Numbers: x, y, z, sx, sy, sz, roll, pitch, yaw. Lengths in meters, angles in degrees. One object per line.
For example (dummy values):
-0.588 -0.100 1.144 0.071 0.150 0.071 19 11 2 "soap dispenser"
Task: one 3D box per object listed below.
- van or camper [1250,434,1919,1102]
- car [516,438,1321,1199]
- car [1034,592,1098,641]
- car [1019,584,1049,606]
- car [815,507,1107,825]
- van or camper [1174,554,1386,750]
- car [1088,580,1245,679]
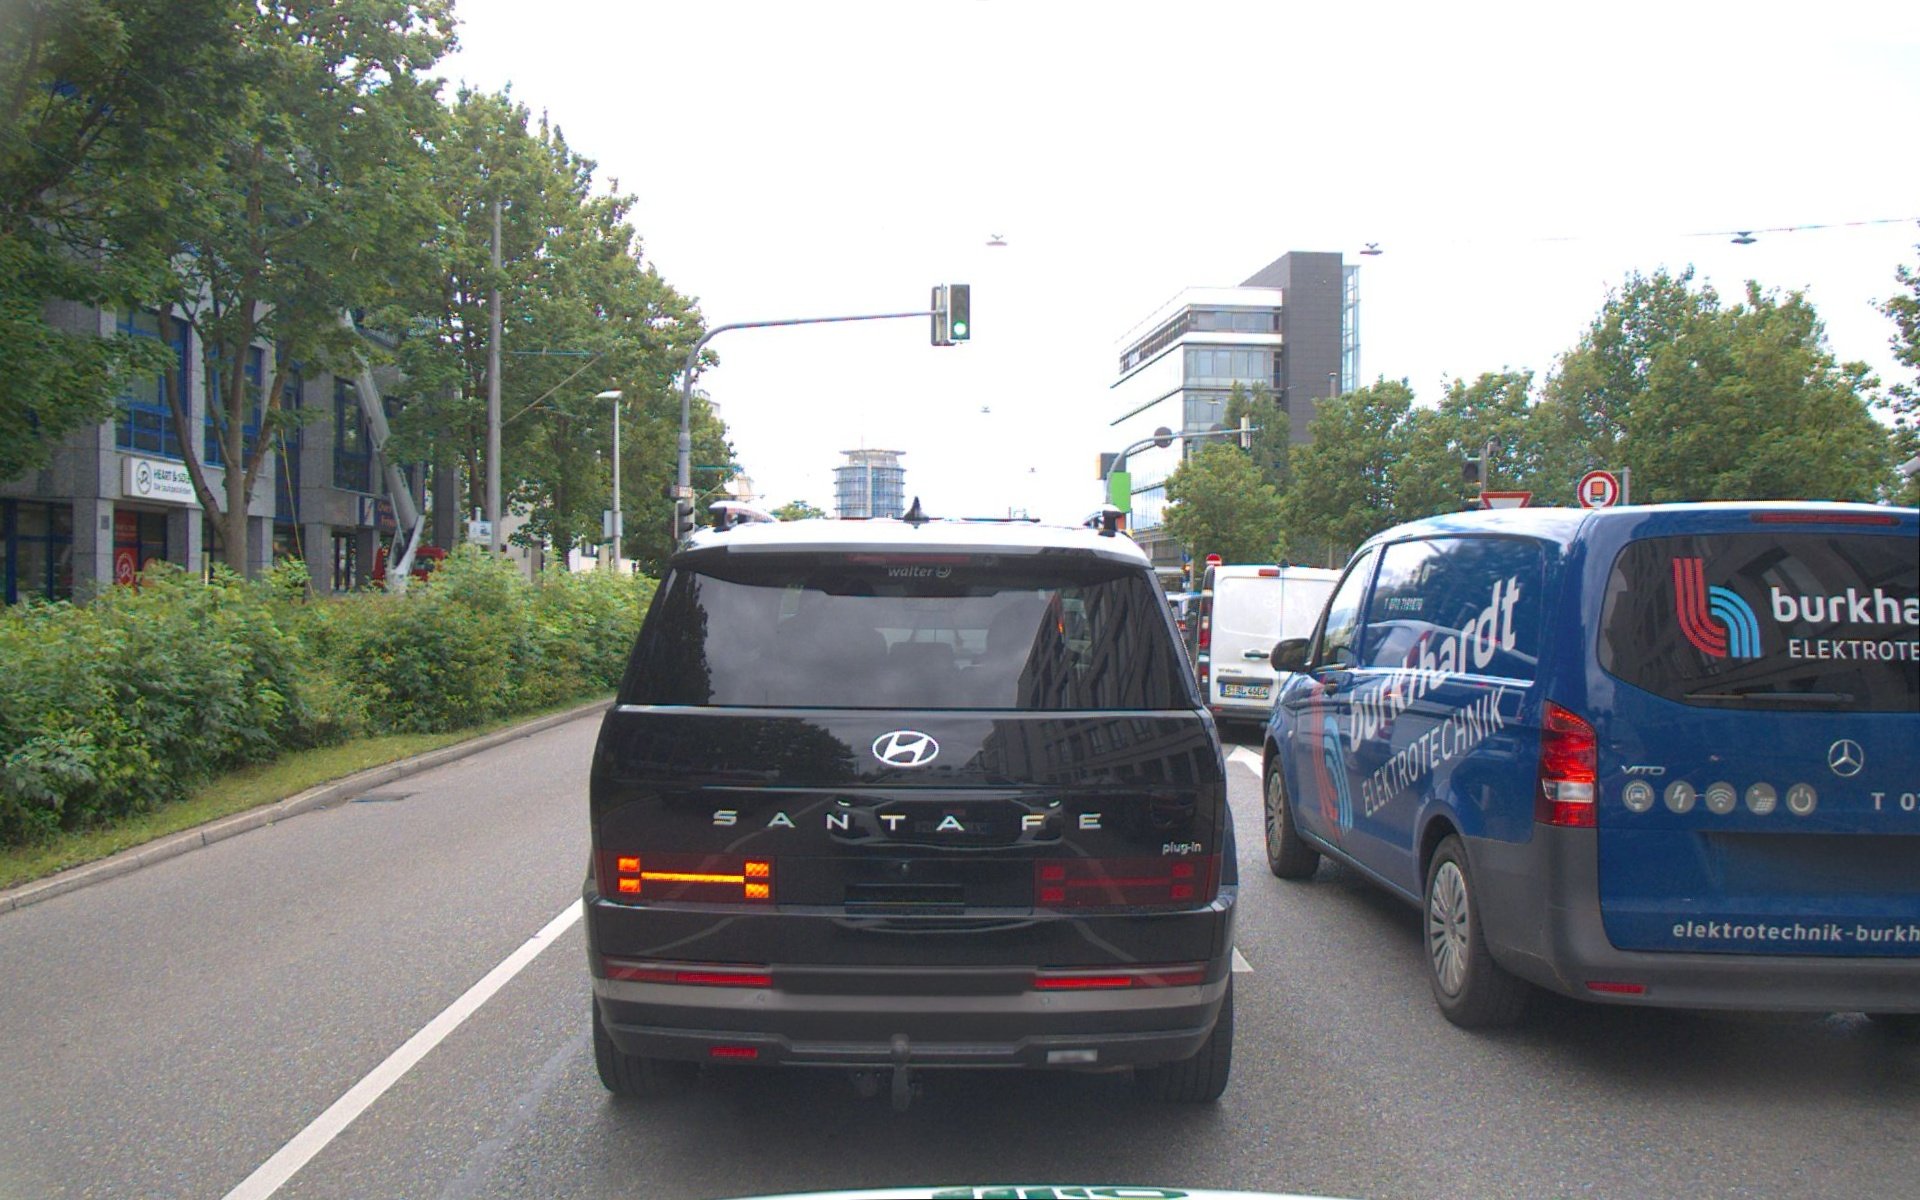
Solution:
2.672 0.479 7.351 1.822 1.944 5.031 0 0 -1 "van or camper"
-0.116 0.522 5.706 1.831 1.791 3.879 0 0 -1 "car"
3.732 0.588 58.774 1.953 1.646 3.999 1 0 -1 "car"
5.852 -0.377 130.713 1.954 1.713 3.997 1 0 -3 "car"
-0.021 0.417 12.554 1.876 2.038 3.879 0 0 -1 "car"
3.689 0.538 19.840 1.951 2.049 4.655 1 0 4 "van or camper"
4.024 0.539 31.610 1.741 1.747 4.335 0 -1 25 "car"
